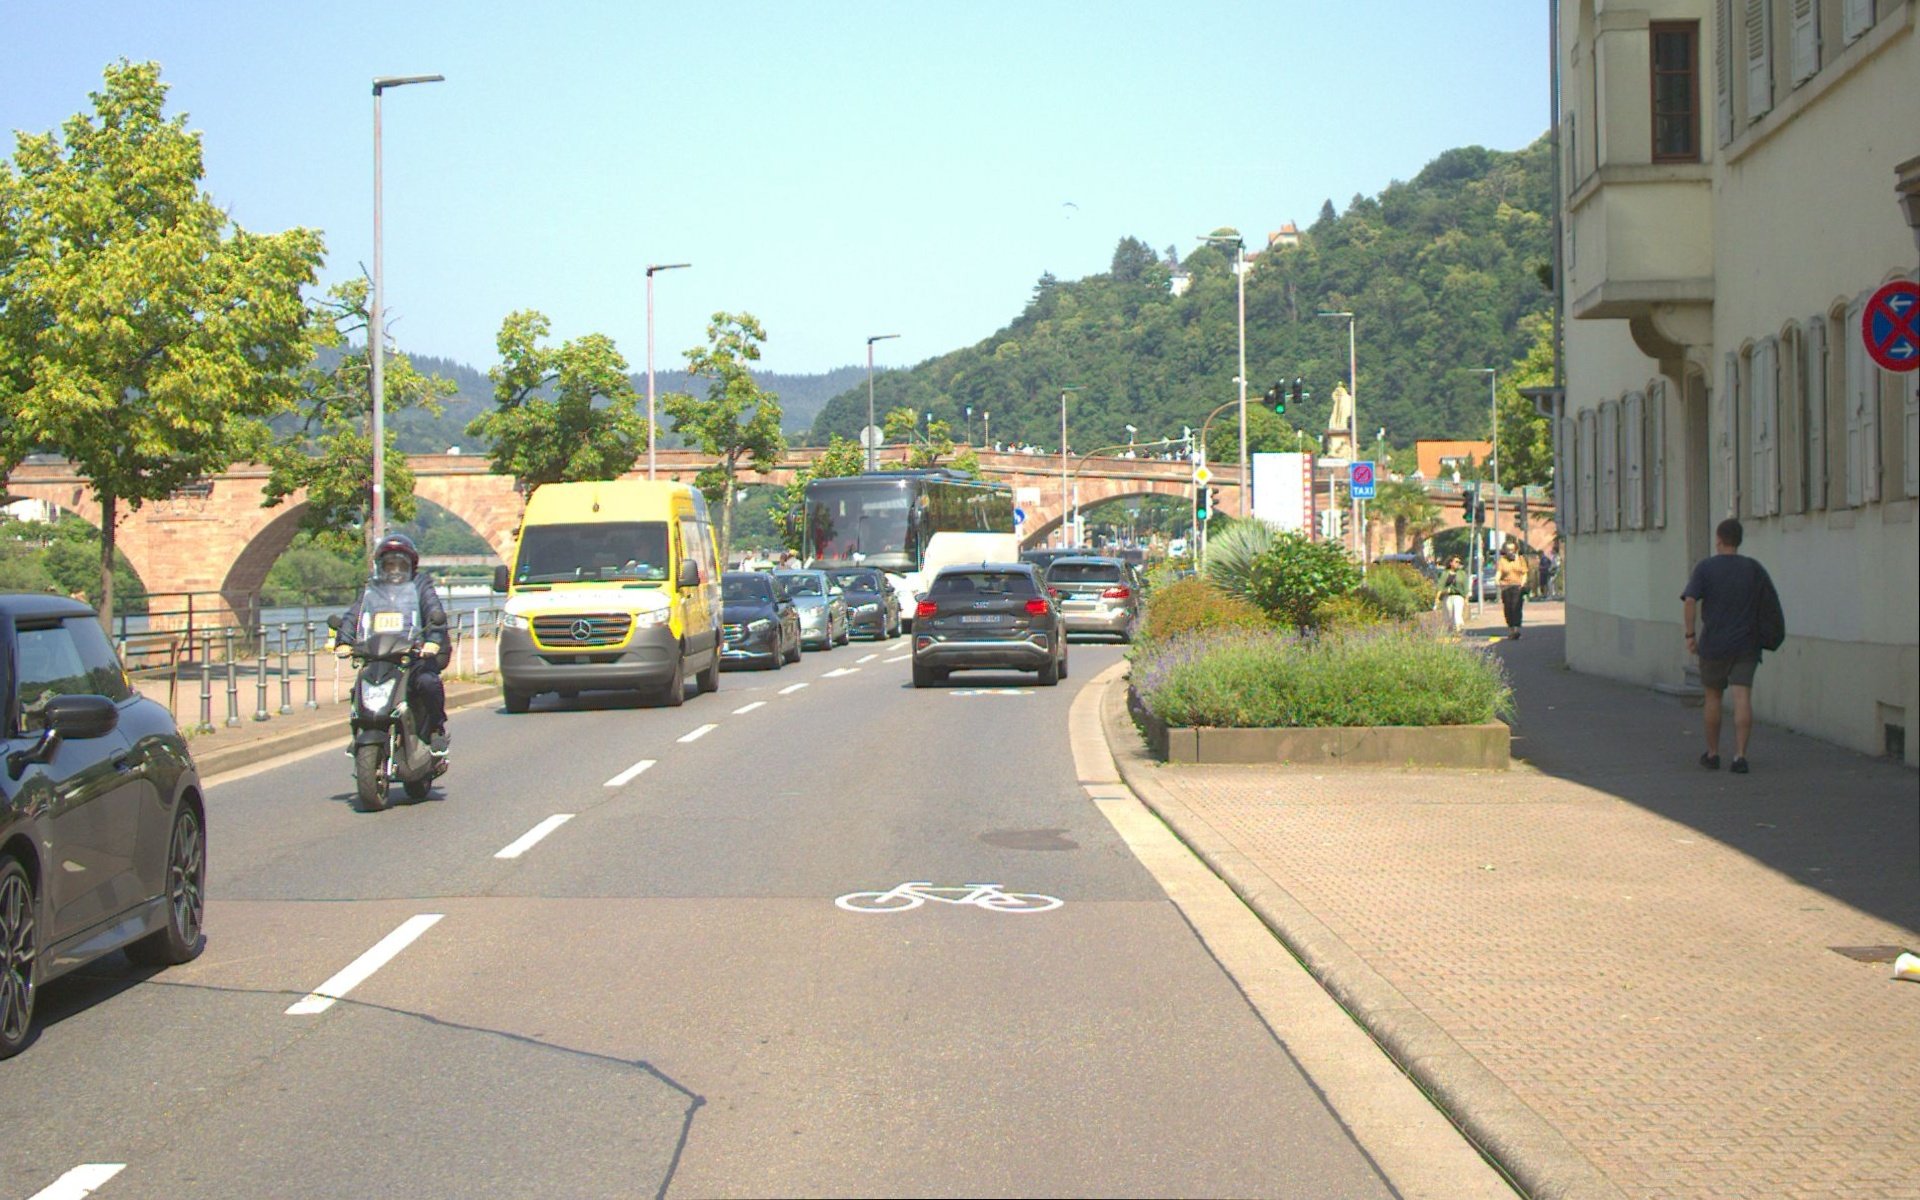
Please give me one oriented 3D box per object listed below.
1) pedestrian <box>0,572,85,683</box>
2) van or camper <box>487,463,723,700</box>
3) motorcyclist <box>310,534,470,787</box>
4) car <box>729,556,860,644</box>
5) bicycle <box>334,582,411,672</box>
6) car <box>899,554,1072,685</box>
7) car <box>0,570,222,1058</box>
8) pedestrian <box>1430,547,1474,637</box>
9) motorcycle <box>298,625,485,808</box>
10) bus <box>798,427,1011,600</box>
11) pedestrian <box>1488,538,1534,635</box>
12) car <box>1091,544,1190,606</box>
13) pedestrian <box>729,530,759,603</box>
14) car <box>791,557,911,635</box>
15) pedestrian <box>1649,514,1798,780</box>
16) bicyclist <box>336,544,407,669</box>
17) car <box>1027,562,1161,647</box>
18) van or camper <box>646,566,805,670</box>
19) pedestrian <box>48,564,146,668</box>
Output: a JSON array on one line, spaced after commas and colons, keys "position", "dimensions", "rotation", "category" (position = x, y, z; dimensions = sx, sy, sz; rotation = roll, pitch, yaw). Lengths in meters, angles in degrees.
[{"position": [-10.830, 0.313, 40.144], "dimensions": [0.937, 1.276, 0.849], "rotation": [0, 0, 8], "category": "pedestrian"}, {"position": [-4.062, -0.218, 40.499], "dimensions": [2.087, 2.548, 7.092], "rotation": [0, 0, 0], "category": "van or camper"}, {"position": [-3.648, 0.378, 22.063], "dimensions": [0.878, 1.578, 1.025], "rotation": [0, 0, -2], "category": "motorcyclist"}, {"position": [-2.939, -0.019, 61.870], "dimensions": [1.814, 1.423, 4.310], "rotation": [-2, 1, 4], "category": "car"}, {"position": [-7.953, 0.357, 46.620], "dimensions": [0.711, 1.164, 1.896], "rotation": [0, 1, 0], "category": "bicycle"}, {"position": [0.383, 0.206, 43.475], "dimensions": [1.927, 1.548, 4.831], "rotation": [0, 1, 4], "category": "car"}, {"position": [-3.746, 0.645, 11.578], "dimensions": [1.701, 1.453, 4.002], "rotation": [-1, 0, -1], "category": "car"}, {"position": [8.745, -0.150, 61.158], "dimensions": [0.762, 1.590, 0.696], "rotation": [0, 1, 7], "category": "pedestrian"}, {"position": [-3.601, 0.713, 21.961], "dimensions": [0.883, 1.074, 2.328], "rotation": [-1, 0, -2], "category": "motorcycle"}, {"position": [-1.066, -1.802, 78.201], "dimensions": [2.632, 3.552, 12.978], "rotation": [0, 0, 9], "category": "bus"}, {"position": [9.765, -0.238, 60.932], "dimensions": [0.738, 1.693, 0.933], "rotation": [-1, 0, 7], "category": "pedestrian"}, {"position": [4.454, -0.601, 84.019], "dimensions": [1.927, 1.456, 4.830], "rotation": [0, 0, 9], "category": "car"}, {"position": [-5.338, -0.828, 84.874], "dimensions": [0.620, 1.774, 0.662], "rotation": [0, 0, 7], "category": "pedestrian"}, {"position": [-2.111, -0.098, 67.742], "dimensions": [1.817, 1.424, 4.192], "rotation": [-1, 1, 6], "category": "car"}, {"position": [5.090, 0.305, 22.944], "dimensions": [0.762, 1.708, 0.696], "rotation": [-3, 0, 2], "category": "pedestrian"}, {"position": [-7.949, 0.084, 46.489], "dimensions": [0.740, 1.662, 1.089], "rotation": [0, 1, 1], "category": "bicyclist"}, {"position": [2.464, 0.049, 62.197], "dimensions": [1.927, 1.456, 4.830], "rotation": [0, 1, 8], "category": "car"}, {"position": [-3.550, 0.244, 52.782], "dimensions": [1.993, 1.450, 4.682], "rotation": [-2, 0, 1], "category": "van or camper"}, {"position": [-10.770, 0.198, 42.920], "dimensions": [0.937, 1.276, 0.849], "rotation": [0, 0, 8], "category": "pedestrian"}]
